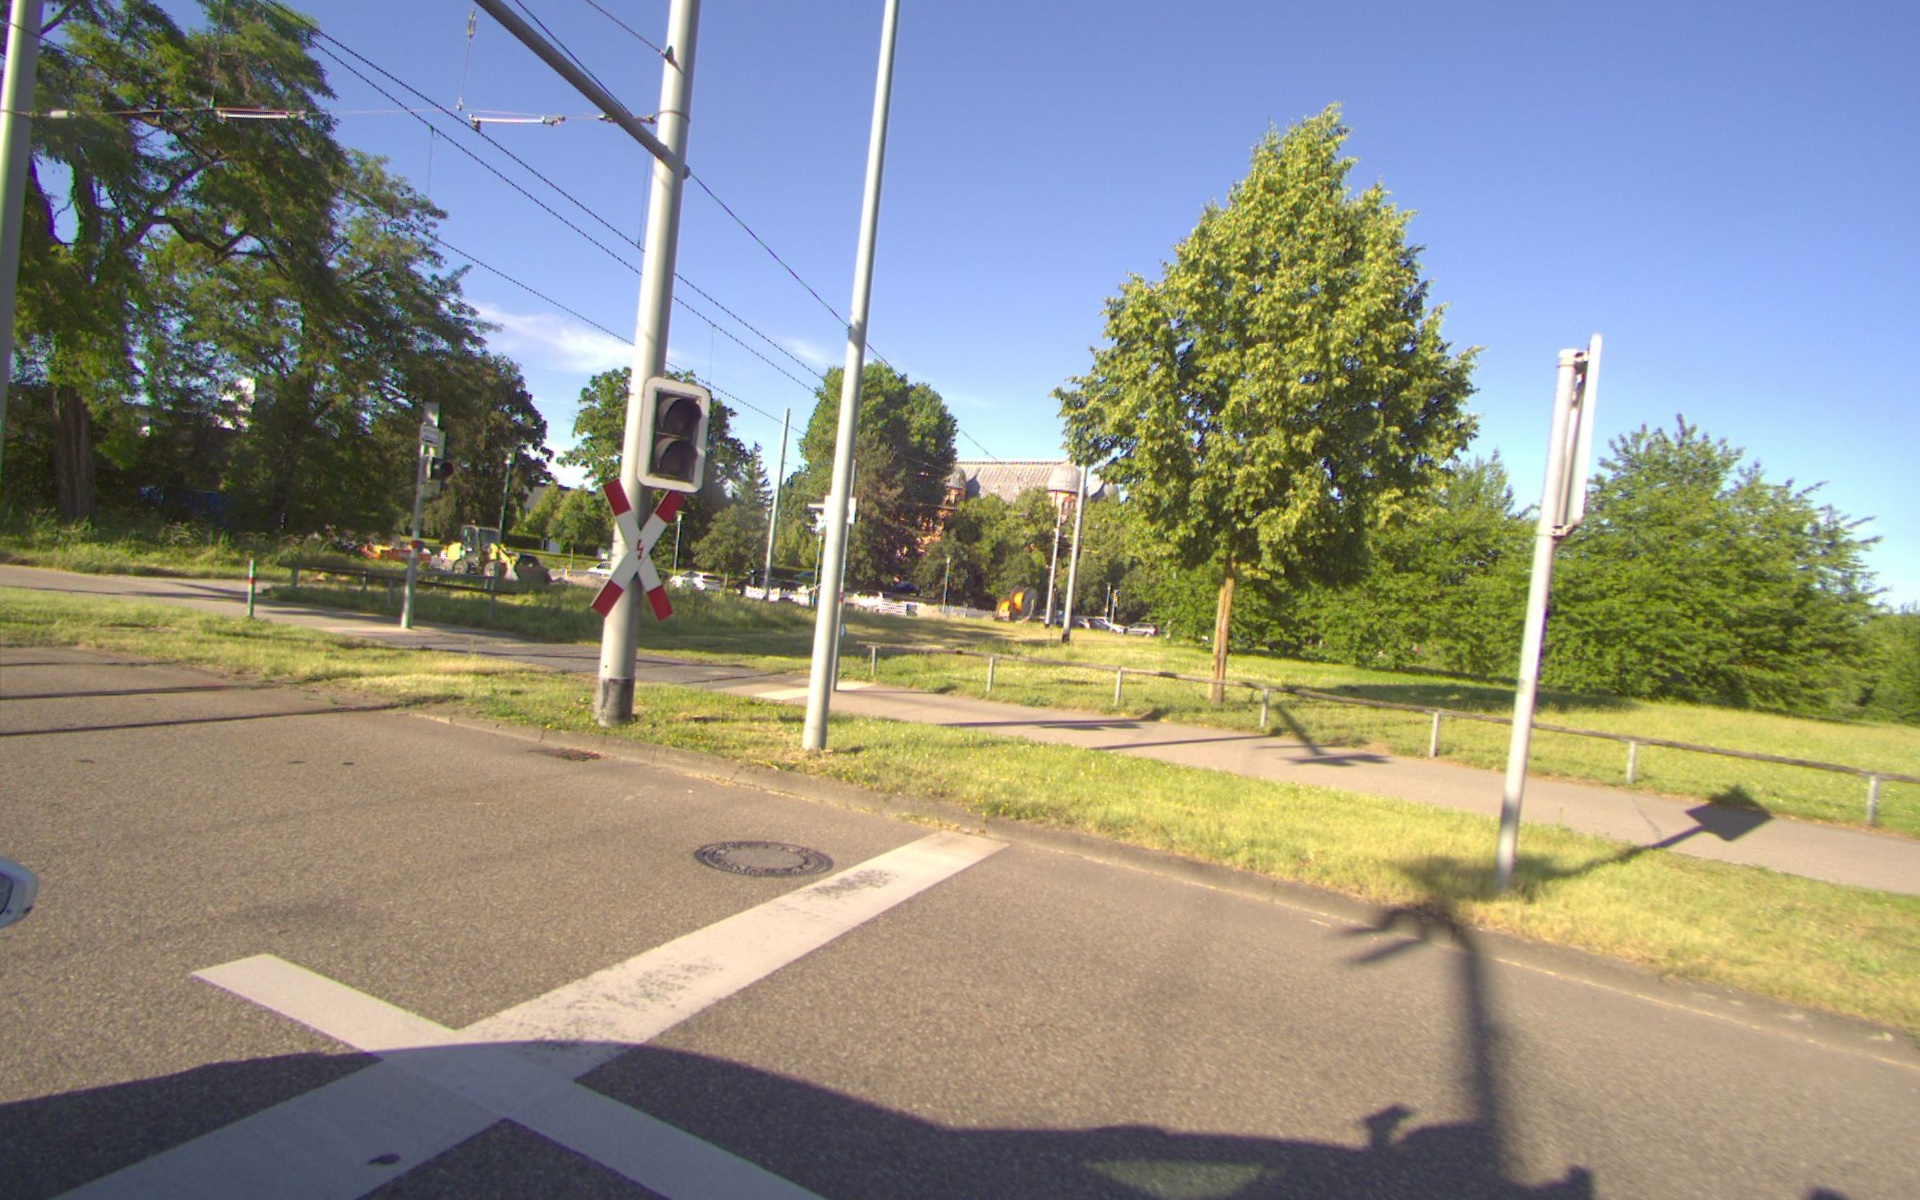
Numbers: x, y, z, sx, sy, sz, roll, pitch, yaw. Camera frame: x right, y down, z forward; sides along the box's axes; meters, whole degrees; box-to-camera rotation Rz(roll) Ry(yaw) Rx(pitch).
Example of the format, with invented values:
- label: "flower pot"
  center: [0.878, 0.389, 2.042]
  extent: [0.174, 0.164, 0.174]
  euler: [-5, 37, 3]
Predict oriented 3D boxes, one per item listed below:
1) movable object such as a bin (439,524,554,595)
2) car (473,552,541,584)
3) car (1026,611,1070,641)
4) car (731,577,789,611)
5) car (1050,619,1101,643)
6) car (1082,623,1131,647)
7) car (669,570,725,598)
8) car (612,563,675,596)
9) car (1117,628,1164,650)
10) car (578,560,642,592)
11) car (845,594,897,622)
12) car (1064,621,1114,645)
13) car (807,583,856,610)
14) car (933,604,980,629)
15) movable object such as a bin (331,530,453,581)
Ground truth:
- label: "movable object such as a bin"
  center: [-21.464, -1.872, 46.593]
  extent: [4.960, 2.822, 1.998]
  euler: [5, -1, 27]
- label: "car"
  center: [-26.527, -1.880, 58.881]
  extent: [3.893, 1.575, 1.919]
  euler: [4, -2, 38]
- label: "car"
  center: [9.234, 2.727, 106.015]
  extent: [3.941, 2.684, 1.993]
  euler: [4, -2, 38]
- label: "car"
  center: [-14.831, -0.438, 74.572]
  extent: [3.941, 2.124, 1.993]
  euler: [4, -2, 38]
- label: "car"
  center: [10.105, 2.709, 88.253]
  extent: [3.941, 1.777, 1.908]
  euler: [4, -2, 38]
- label: "car"
  center: [13.402, 3.175, 92.007]
  extent: [3.941, 1.777, 1.908]
  euler: [4, -2, 38]
- label: "car"
  center: [-18.333, -1.128, 70.138]
  extent: [3.753, 1.574, 1.826]
  euler: [4, -2, 40]
- label: "car"
  center: [-21.048, -1.362, 66.928]
  extent: [3.941, 1.789, 1.993]
  euler: [4, -2, 38]
- label: "car"
  center: [17.479, 3.781, 97.445]
  extent: [3.941, 1.777, 1.908]
  euler: [4, -2, 38]
- label: "car"
  center: [-22.816, -1.563, 65.580]
  extent: [3.941, 1.743, 1.993]
  euler: [4, -2, 38]
- label: "car"
  center: [-7.535, 0.689, 84.841]
  extent: [3.941, 1.982, 1.993]
  euler: [4, -2, 38]
- label: "car"
  center: [11.569, 2.929, 90.279]
  extent: [3.941, 1.777, 1.908]
  euler: [4, -2, 38]
- label: "car"
  center: [-10.358, -0.305, 80.769]
  extent: [3.795, 1.800, 1.686]
  euler: [4, -2, 41]
- label: "car"
  center: [-0.327, 1.569, 94.279]
  extent: [3.941, 1.918, 1.993]
  euler: [4, -2, 38]
- label: "movable object such as a bin"
  center: [-29.464, -2.284, 52.336]
  extent: [2.202, 1.971, 5.015]
  euler: [5, -2, 30]
